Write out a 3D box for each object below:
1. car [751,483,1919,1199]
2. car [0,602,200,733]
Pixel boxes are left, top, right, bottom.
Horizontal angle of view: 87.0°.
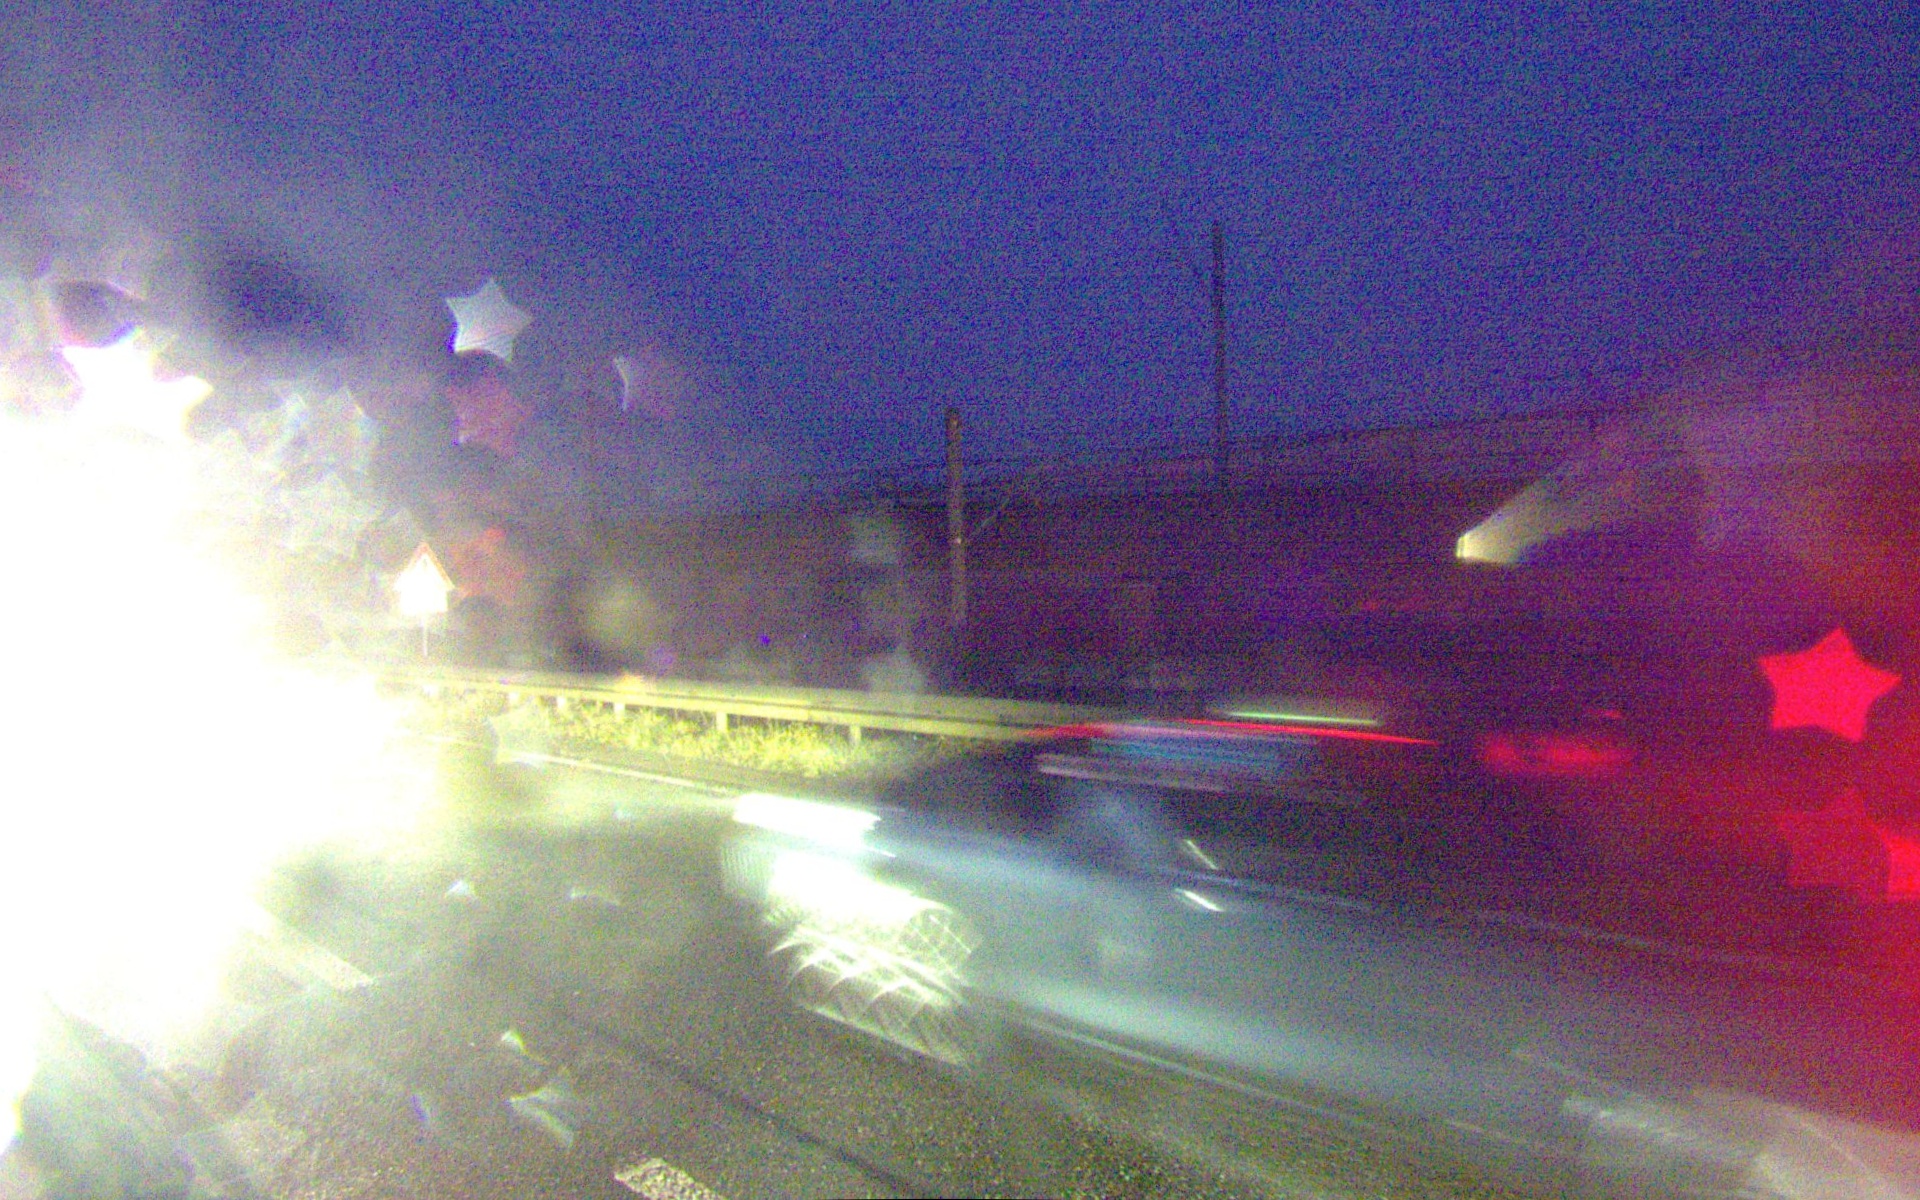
[{"bbox_3d":[1.476,0.603,2.873,4.254,1.557,1.819,-2,-1,41],"label":"car"},{"bbox_3d":[-13.042,0.922,15.002,4.120,1.668,1.932,-1,-2,40],"label":"car"}]
